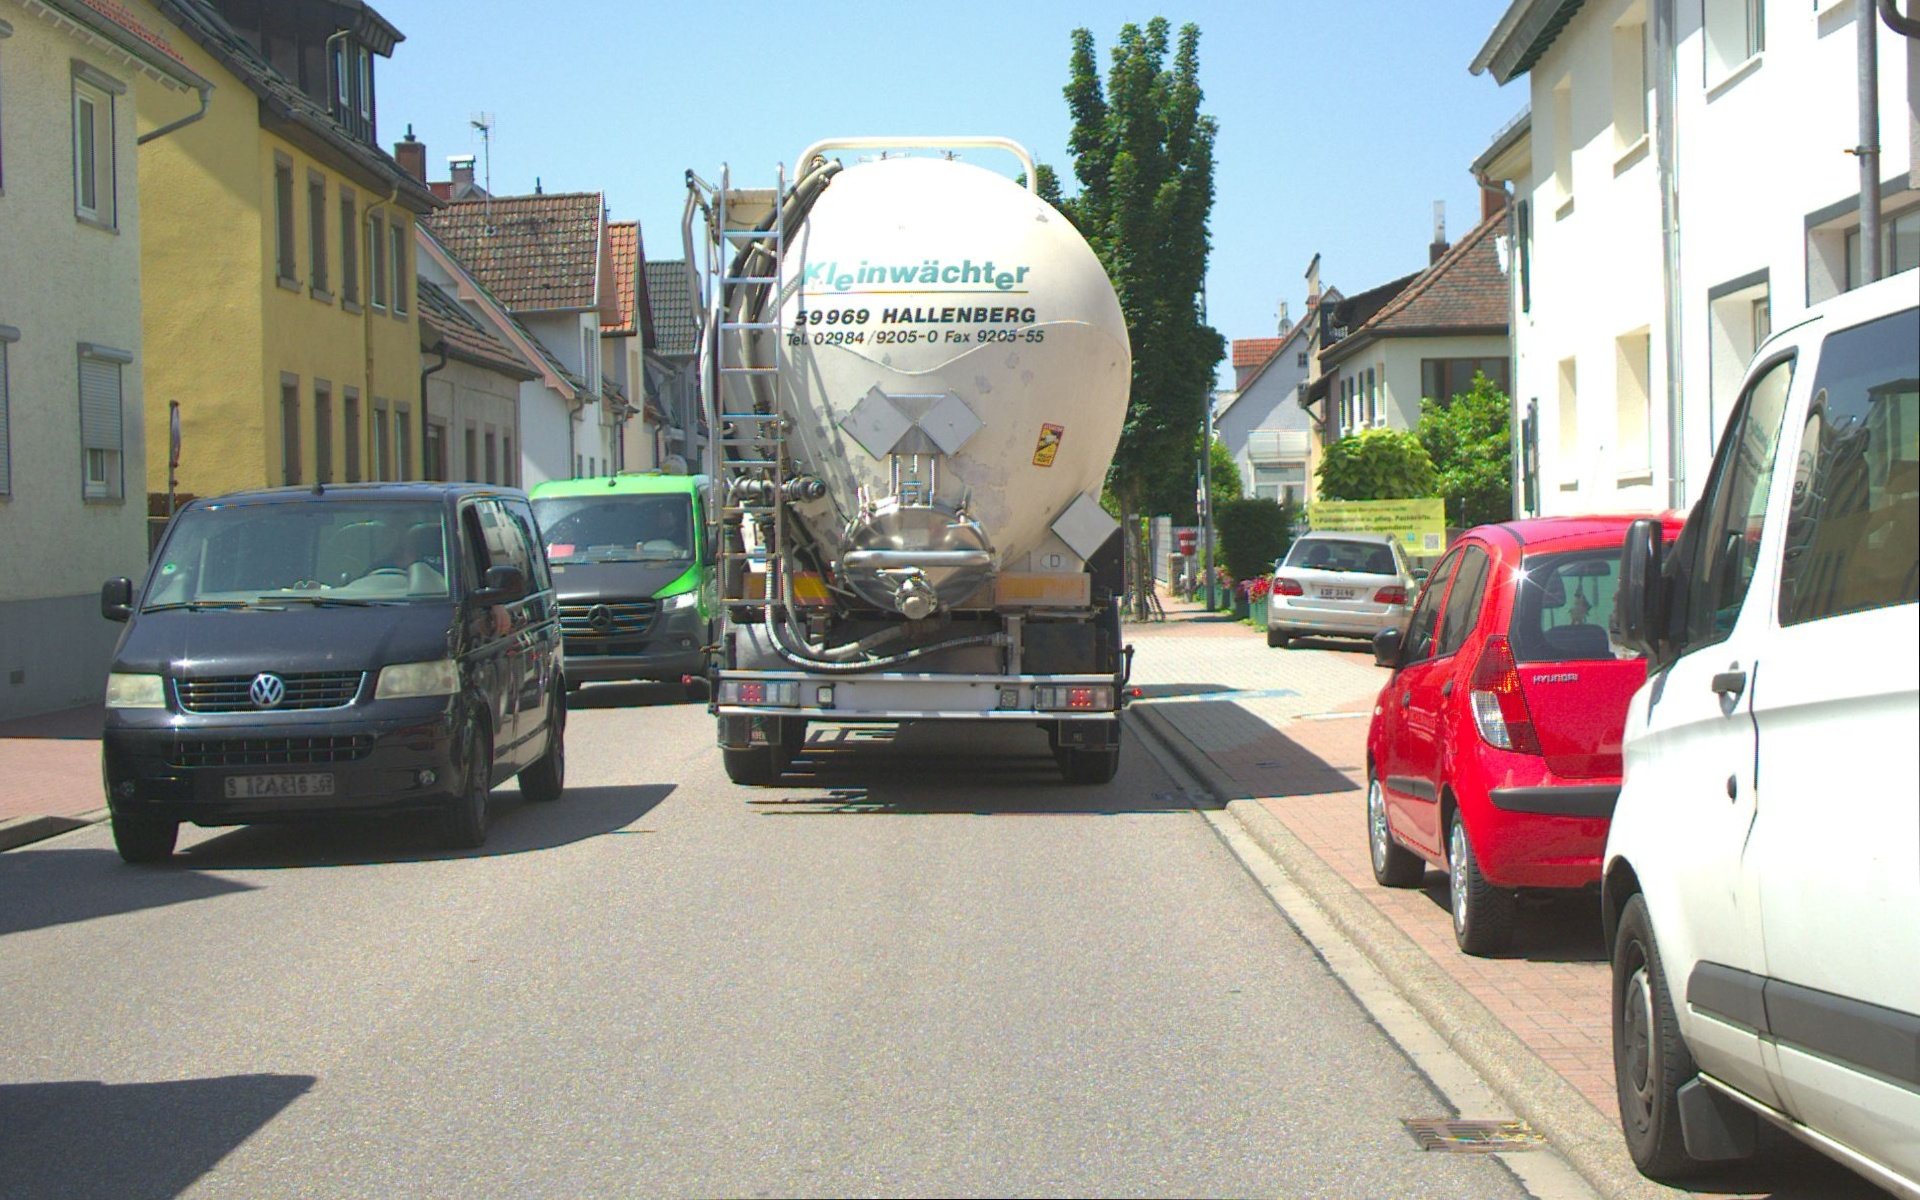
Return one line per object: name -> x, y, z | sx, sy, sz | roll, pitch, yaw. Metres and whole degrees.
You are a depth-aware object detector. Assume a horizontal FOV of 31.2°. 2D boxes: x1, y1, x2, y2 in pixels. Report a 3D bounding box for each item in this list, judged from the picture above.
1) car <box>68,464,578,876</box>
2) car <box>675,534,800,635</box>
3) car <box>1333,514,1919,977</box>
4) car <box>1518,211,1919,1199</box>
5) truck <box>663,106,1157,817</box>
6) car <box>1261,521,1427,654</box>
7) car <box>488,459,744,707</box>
car -> -3.383, 0.291, 19.295 | 1.881, 1.937, 5.118 | -2, 1, 0
car -> -3.660, -0.289, 57.093 | 1.765, 1.531, 4.078 | -2, 1, 0
car -> 2.485, 0.453, 13.487 | 1.610, 1.523, 3.677 | -2, 1, 0
car -> 2.471, 0.326, 6.375 | 1.946, 1.963, 4.785 | -2, 1, -1
truck -> -0.342, -0.821, 23.216 | 2.732, 3.946, 8.142 | 0, 1, -1
car -> 4.964, -0.206, 43.924 | 1.815, 1.457, 4.883 | 4, 2, 9
car -> -3.540, -0.232, 36.518 | 2.051, 2.345, 6.082 | -2, 1, 0
